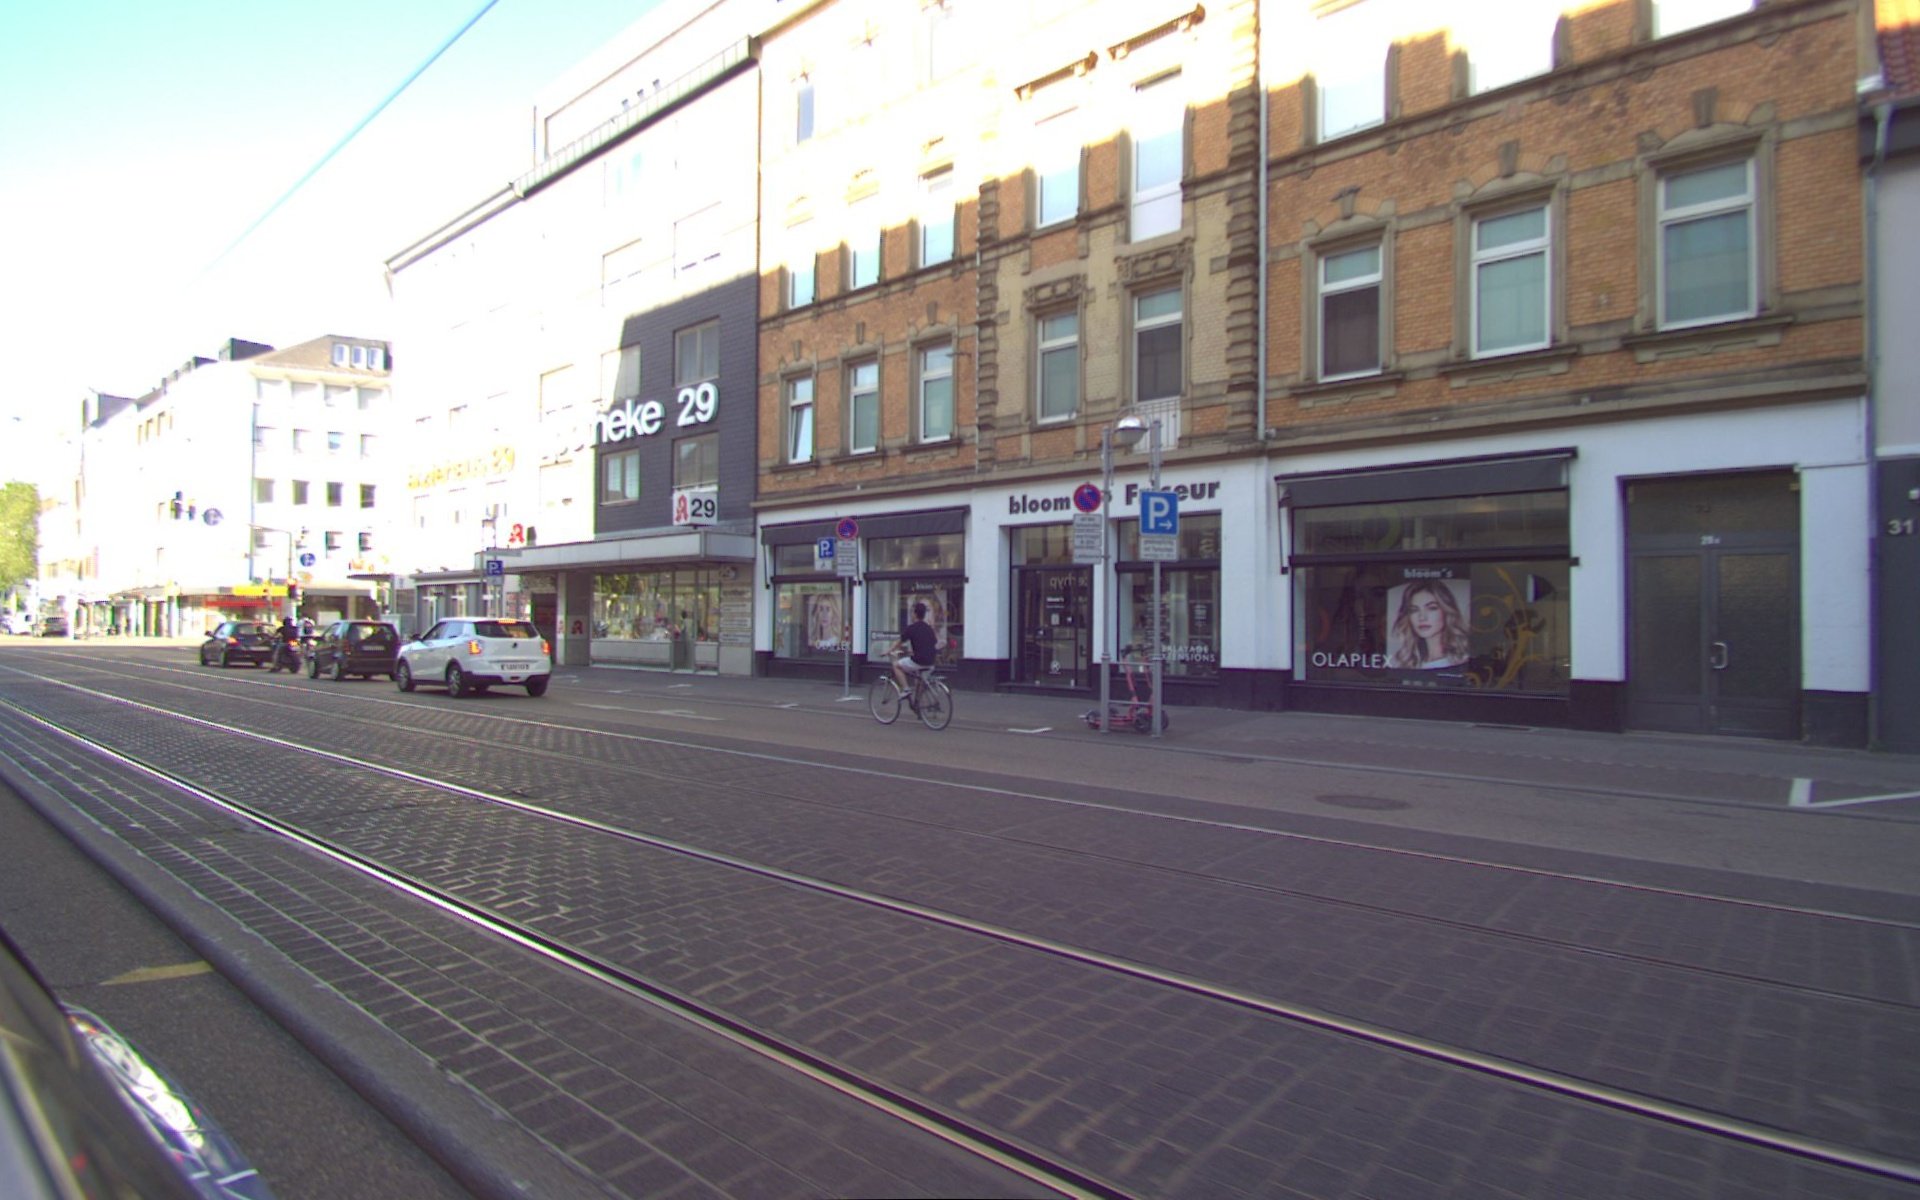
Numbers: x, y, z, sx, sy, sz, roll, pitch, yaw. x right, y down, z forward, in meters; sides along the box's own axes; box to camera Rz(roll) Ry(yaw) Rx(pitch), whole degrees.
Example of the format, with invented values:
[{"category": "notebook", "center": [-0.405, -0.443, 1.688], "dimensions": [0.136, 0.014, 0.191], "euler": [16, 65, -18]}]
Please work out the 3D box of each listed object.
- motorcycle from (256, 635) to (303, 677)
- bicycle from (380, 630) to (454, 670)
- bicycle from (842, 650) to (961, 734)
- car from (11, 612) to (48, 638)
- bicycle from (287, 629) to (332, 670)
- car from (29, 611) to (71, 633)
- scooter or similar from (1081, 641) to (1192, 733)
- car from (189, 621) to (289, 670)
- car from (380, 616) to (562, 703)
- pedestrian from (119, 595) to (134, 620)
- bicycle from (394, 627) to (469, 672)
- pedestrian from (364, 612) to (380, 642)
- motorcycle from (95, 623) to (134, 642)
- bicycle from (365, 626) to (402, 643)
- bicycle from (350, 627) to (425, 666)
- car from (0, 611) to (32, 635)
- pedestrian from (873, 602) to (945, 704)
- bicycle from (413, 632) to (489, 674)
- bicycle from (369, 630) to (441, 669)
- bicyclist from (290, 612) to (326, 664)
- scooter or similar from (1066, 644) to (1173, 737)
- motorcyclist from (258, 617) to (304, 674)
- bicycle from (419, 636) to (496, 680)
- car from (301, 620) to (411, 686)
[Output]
[{"category": "motorcycle", "center": [-19.561, 1.597, 29.075], "dimensions": [2.116, 1.128, 0.564], "euler": [-1, -2, 42]}, {"category": "bicycle", "center": [-17.223, 1.564, 32.156], "dimensions": [0.772, 1.201, 1.917], "euler": [-1, -2, 36]}, {"category": "bicycle", "center": [-0.891, 1.331, 15.043], "dimensions": [1.953, 1.124, 0.571], "euler": [-1, -2, 43]}, {"category": "car", "center": [-77.241, 2.066, 83.989], "dimensions": [4.844, 2.029, 1.971], "euler": [-1, -2, 44]}, {"category": "bicycle", "center": [-22.216, 1.672, 34.551], "dimensions": [2.024, 1.303, 0.742], "euler": [-1, -1, 41]}, {"category": "car", "center": [-70.816, 1.713, 78.772], "dimensions": [3.998, 1.719, 1.973], "euler": [-1, -2, 41]}, {"category": "scooter or similar", "center": [2.531, 1.223, 14.563], "dimensions": [1.475, 1.211, 0.573], "euler": [-1, 0, 38]}, {"category": "car", "center": [-23.125, 1.447, 32.409], "dimensions": [4.137, 1.457, 1.695], "euler": [-1, -4, 42]}, {"category": "car", "center": [-10.202, 1.172, 20.971], "dimensions": [4.261, 1.606, 1.870], "euler": [-1, -3, 42]}, {"category": "pedestrian", "center": [-59.185, 0.551, 71.892], "dimensions": [0.700, 1.722, 0.562], "euler": [1, -2, -28]}, {"category": "bicycle", "center": [-16.348, 1.514, 31.342], "dimensions": [0.772, 1.289, 1.917], "euler": [-1, 0, 36]}, {"category": "pedestrian", "center": [-33.681, 1.527, 57.984], "dimensions": [0.644, 1.725, 0.794], "euler": [1, -1, -40]}, {"category": "motorcycle", "center": [-68.002, 2.608, 81.444], "dimensions": [0.999, 1.517, 2.226], "euler": [-1, -2, 38]}, {"category": "bicycle", "center": [-32.774, 1.942, 57.504], "dimensions": [1.765, 0.975, 0.555], "euler": [1, -2, -37]}, {"category": "bicycle", "center": [-19.250, 1.542, 34.073], "dimensions": [0.772, 1.233, 2.084], "euler": [-1, 0, 36]}, {"category": "car", "center": [-81.764, 1.987, 87.423], "dimensions": [3.998, 2.029, 1.973], "euler": [-1, -2, 41]}, {"category": "pedestrian", "center": [-0.748, 0.757, 14.921], "dimensions": [0.874, 1.455, 0.617], "euler": [0, -1, 42]}, {"category": "bicycle", "center": [-15.243, 1.564, 30.348], "dimensions": [0.772, 1.161, 1.917], "euler": [-1, -1, 36]}, {"category": "bicycle", "center": [-17.938, 1.580, 32.750], "dimensions": [0.772, 1.181, 1.917], "euler": [-1, 0, 36]}, {"category": "bicyclist", "center": [-22.274, 1.294, 34.591], "dimensions": [1.145, 1.742, 0.742], "euler": [-1, -2, 42]}, {"category": "scooter or similar", "center": [2.220, 1.240, 14.194], "dimensions": [1.475, 1.211, 0.360], "euler": [-1, 0, 38]}, {"category": "motorcyclist", "center": [-19.430, 1.294, 28.961], "dimensions": [1.145, 1.570, 0.794], "euler": [-1, -3, 42]}, {"category": "bicycle", "center": [-14.345, 1.644, 28.949], "dimensions": [0.551, 1.199, 1.916], "euler": [-1, -2, 37]}, {"category": "car", "center": [-15.464, 1.310, 25.900], "dimensions": [2.828, 1.578, 1.631], "euler": [-1, -2, 42]}]
